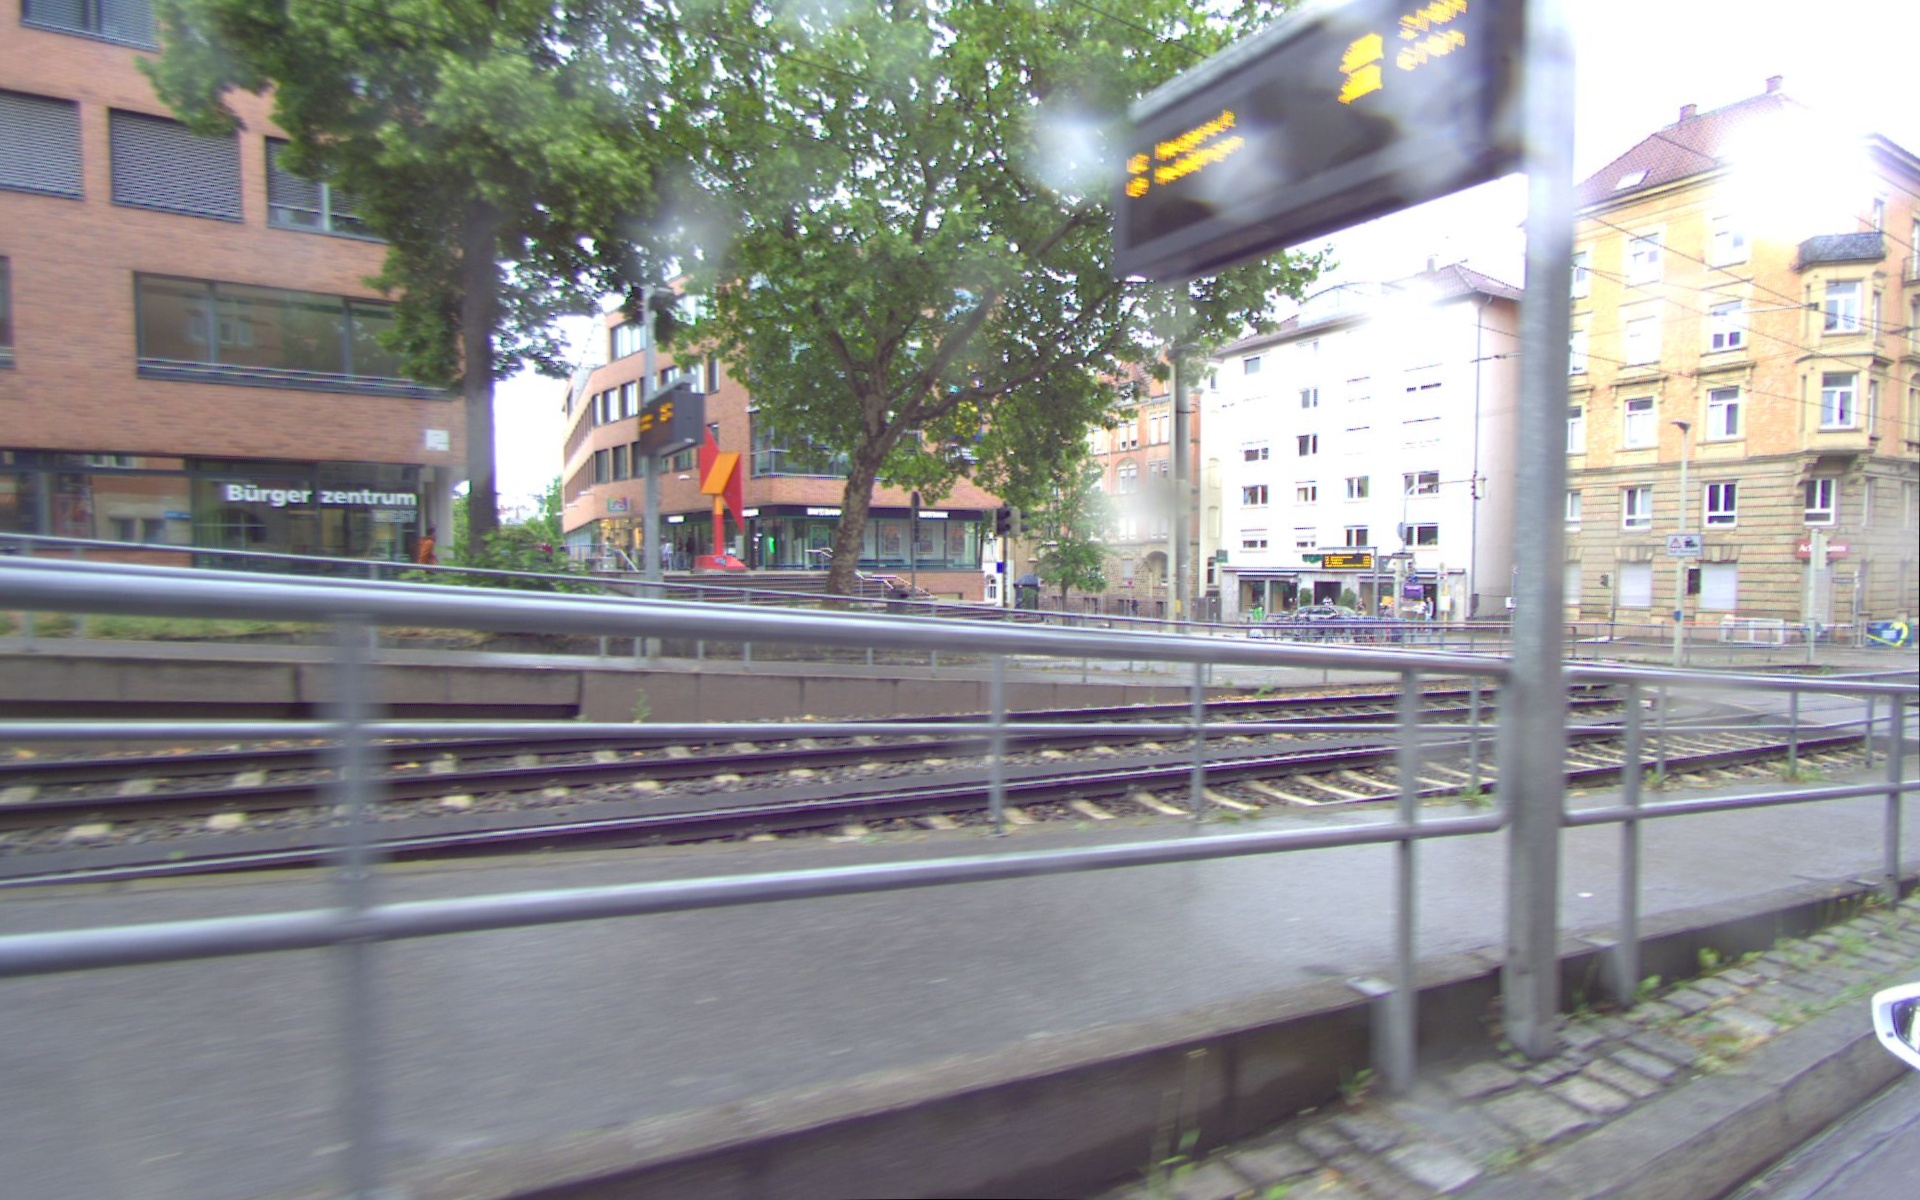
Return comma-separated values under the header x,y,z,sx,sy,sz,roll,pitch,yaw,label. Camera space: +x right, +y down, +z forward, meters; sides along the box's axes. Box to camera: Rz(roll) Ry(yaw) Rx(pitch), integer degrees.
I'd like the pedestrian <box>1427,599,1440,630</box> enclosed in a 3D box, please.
x,y,z,sx,sy,sz,roll,pitch,yaw,label
25.438,0.767,53.987,0.507,1.643,0.486,2,1,20,pedestrian

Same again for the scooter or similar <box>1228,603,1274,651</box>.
x,y,z,sx,sy,sz,roll,pitch,yaw,label
7.631,0.699,26.372,1.089,1.211,0.362,2,1,8,scooter or similar

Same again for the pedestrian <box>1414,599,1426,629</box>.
x,y,z,sx,sy,sz,roll,pitch,yaw,label
24.963,0.758,54.496,0.507,1.643,0.486,2,1,20,pedestrian

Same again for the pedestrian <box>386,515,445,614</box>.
x,y,z,sx,sy,sz,roll,pitch,yaw,label
-11.533,-0.737,21.273,0.972,2.041,0.726,1,1,-39,pedestrian

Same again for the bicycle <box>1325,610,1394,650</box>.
x,y,z,sx,sy,sz,roll,pitch,yaw,label
11.944,0.881,30.078,0.514,1.079,1.854,1,1,-41,bicycle

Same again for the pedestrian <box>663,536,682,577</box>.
x,y,z,sx,sy,sz,roll,pitch,yaw,label
-14.768,-2.207,51.535,0.710,2.040,0.713,1,1,-36,pedestrian

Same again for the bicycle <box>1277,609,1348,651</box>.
x,y,z,sx,sy,sz,roll,pitch,yaw,label
9.896,0.824,28.243,0.514,1.076,1.853,1,1,-42,bicycle

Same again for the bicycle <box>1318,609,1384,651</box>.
x,y,z,sx,sy,sz,roll,pitch,yaw,label
11.473,0.861,29.523,0.514,1.158,1.751,1,1,-41,bicycle

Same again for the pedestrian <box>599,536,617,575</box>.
x,y,z,sx,sy,sz,roll,pitch,yaw,label
-18.602,-2.350,53.129,0.710,2.040,0.713,1,1,-36,pedestrian

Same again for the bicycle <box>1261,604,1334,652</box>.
x,y,z,sx,sy,sz,roll,pitch,yaw,label
9.215,0.752,27.473,0.514,1.211,1.854,1,1,-41,bicycle

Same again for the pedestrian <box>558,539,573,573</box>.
x,y,z,sx,sy,sz,roll,pitch,yaw,label
-24.242,-2.678,61.730,0.710,2.041,0.713,1,1,-35,pedestrian

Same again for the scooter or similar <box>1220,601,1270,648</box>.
x,y,z,sx,sy,sz,roll,pitch,yaw,label
7.673,0.647,27.035,1.226,1.211,0.299,2,1,8,scooter or similar

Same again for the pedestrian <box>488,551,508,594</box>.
x,y,z,sx,sy,sz,roll,pitch,yaw,label
-22.220,-1.335,48.313,0.710,2.040,0.713,1,1,-36,pedestrian

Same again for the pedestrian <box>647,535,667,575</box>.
x,y,z,sx,sy,sz,roll,pitch,yaw,label
-15.830,-2.327,52.502,0.715,2.040,0.708,1,1,-43,pedestrian

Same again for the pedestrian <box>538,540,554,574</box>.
x,y,z,sx,sy,sz,roll,pitch,yaw,label
-25.376,-2.656,61.571,0.710,2.040,0.713,1,1,-36,pedestrian
